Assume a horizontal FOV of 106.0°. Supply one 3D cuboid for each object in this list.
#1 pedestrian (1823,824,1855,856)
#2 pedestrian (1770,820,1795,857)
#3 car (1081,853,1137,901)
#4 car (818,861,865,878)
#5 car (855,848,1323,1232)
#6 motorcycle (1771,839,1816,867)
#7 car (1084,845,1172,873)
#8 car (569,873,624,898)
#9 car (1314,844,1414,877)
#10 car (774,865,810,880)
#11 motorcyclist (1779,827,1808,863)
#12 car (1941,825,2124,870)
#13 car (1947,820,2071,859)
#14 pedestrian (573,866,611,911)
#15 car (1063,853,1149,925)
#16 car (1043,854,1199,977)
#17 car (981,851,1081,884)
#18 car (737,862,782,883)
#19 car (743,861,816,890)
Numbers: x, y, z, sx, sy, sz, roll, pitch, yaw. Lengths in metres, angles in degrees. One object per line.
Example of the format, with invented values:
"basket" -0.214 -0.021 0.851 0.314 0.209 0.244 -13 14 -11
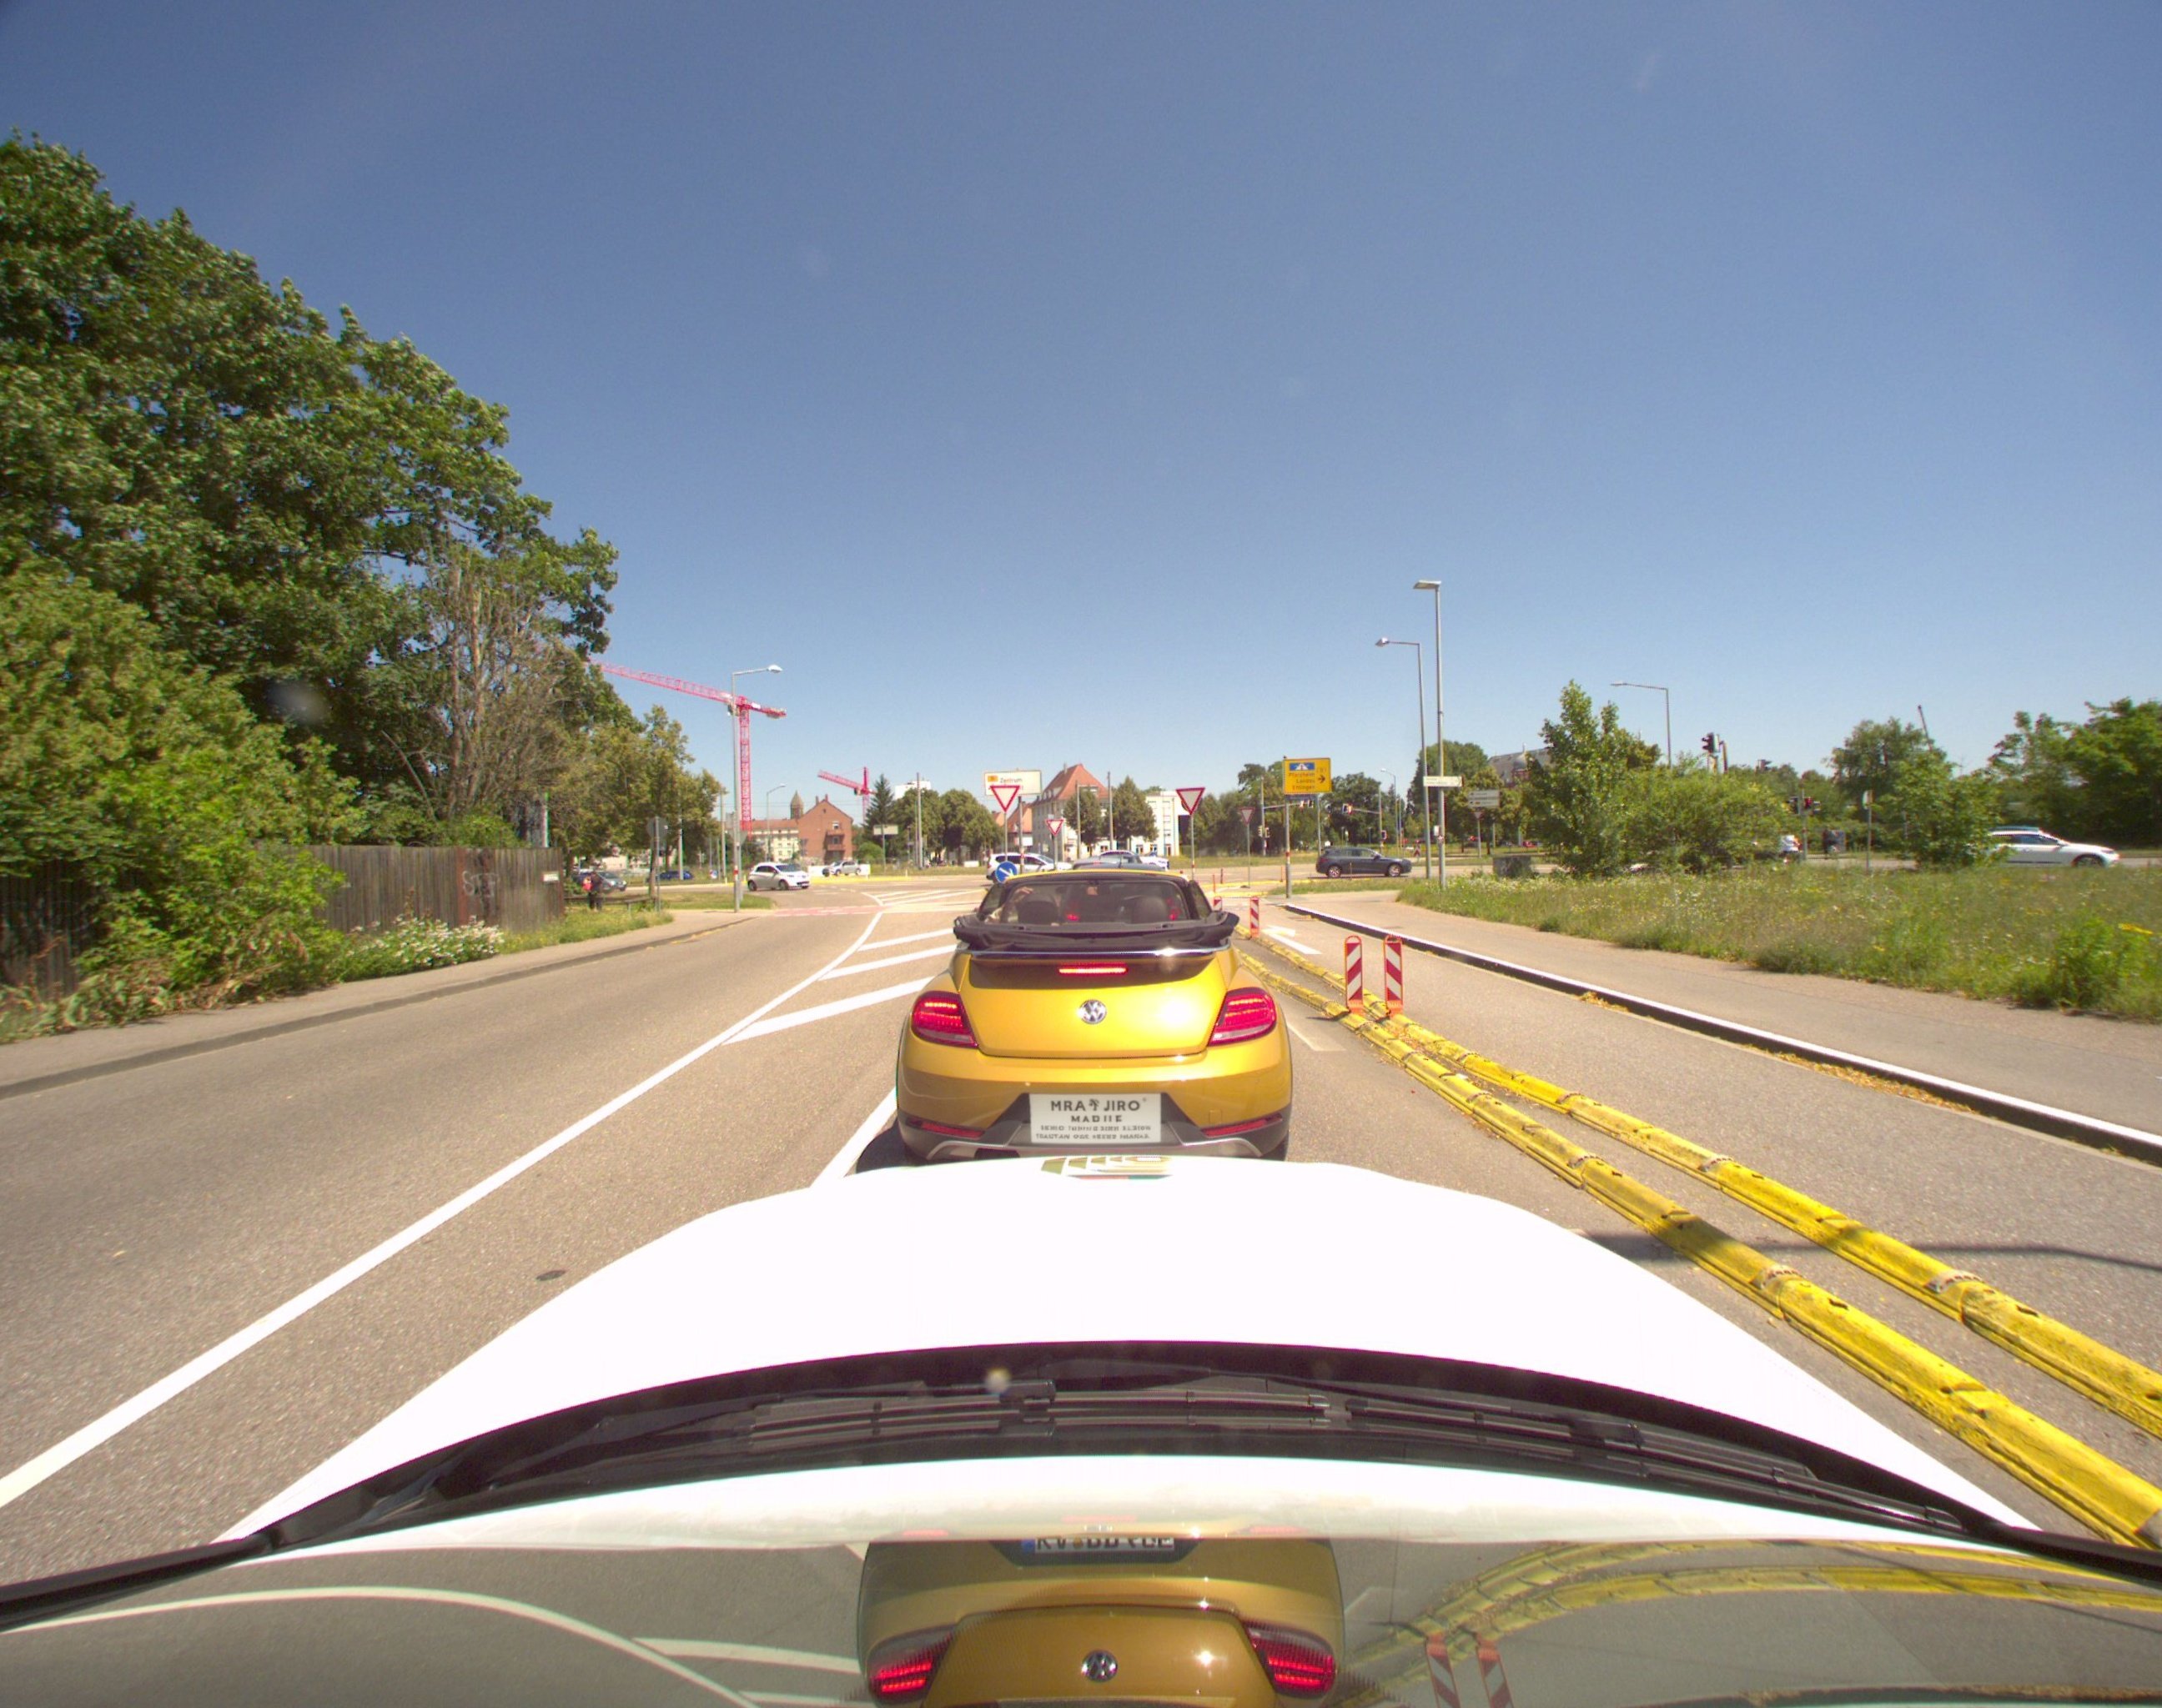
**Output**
"pedestrian" 37.755 -0.702 40.568 0.789 1.563 0.823 -1 0 3
"pedestrian" 36.571 -0.795 42.485 0.647 1.870 0.737 -1 0 3
"car" 0.939 0.723 27.577 1.730 1.477 4.002 -1 0 2
"car" -23.154 1.509 78.919 1.690 1.500 4.247 -1 0 34
"car" 0.080 0.710 4.969 1.746 1.422 3.779 -1 0 1
"motorcycle" 25.802 -0.033 29.480 1.712 0.970 0.625 -1 0 -28
"car" 2.772 0.304 47.553 4.962 1.509 2.005 -1 0 8
"car" -34.172 2.215 57.454 3.960 1.620 1.748 -1 0 33
"car" 13.281 0.283 38.462 4.179 1.442 2.005 -1 0 9
"car" -25.163 1.579 71.009 1.700 1.236 3.788 -1 0 2
"motorcyclist" 25.821 -0.321 29.526 0.616 1.289 0.576 -1 0 -27
"car" 33.554 -0.200 28.904 3.969 1.444 1.643 -1 0 39
"car" 46.701 -0.692 41.120 3.950 1.838 2.012 -1 0 45
"pedestrian" -17.575 1.234 29.262 0.866 1.563 0.815 -1 0 24
"car" 0.581 0.724 18.778 1.730 1.442 4.002 -1 0 2
"car" 0.541 0.737 11.760 1.841 1.442 4.002 -1 0 2
"car" -2.506 0.688 41.041 4.540 1.566 2.009 -1 0 16
"car" -25.127 1.401 63.823 1.749 1.549 4.002 -1 0 2
"car" -17.408 1.227 47.002 3.961 1.620 1.690 -1 0 29
